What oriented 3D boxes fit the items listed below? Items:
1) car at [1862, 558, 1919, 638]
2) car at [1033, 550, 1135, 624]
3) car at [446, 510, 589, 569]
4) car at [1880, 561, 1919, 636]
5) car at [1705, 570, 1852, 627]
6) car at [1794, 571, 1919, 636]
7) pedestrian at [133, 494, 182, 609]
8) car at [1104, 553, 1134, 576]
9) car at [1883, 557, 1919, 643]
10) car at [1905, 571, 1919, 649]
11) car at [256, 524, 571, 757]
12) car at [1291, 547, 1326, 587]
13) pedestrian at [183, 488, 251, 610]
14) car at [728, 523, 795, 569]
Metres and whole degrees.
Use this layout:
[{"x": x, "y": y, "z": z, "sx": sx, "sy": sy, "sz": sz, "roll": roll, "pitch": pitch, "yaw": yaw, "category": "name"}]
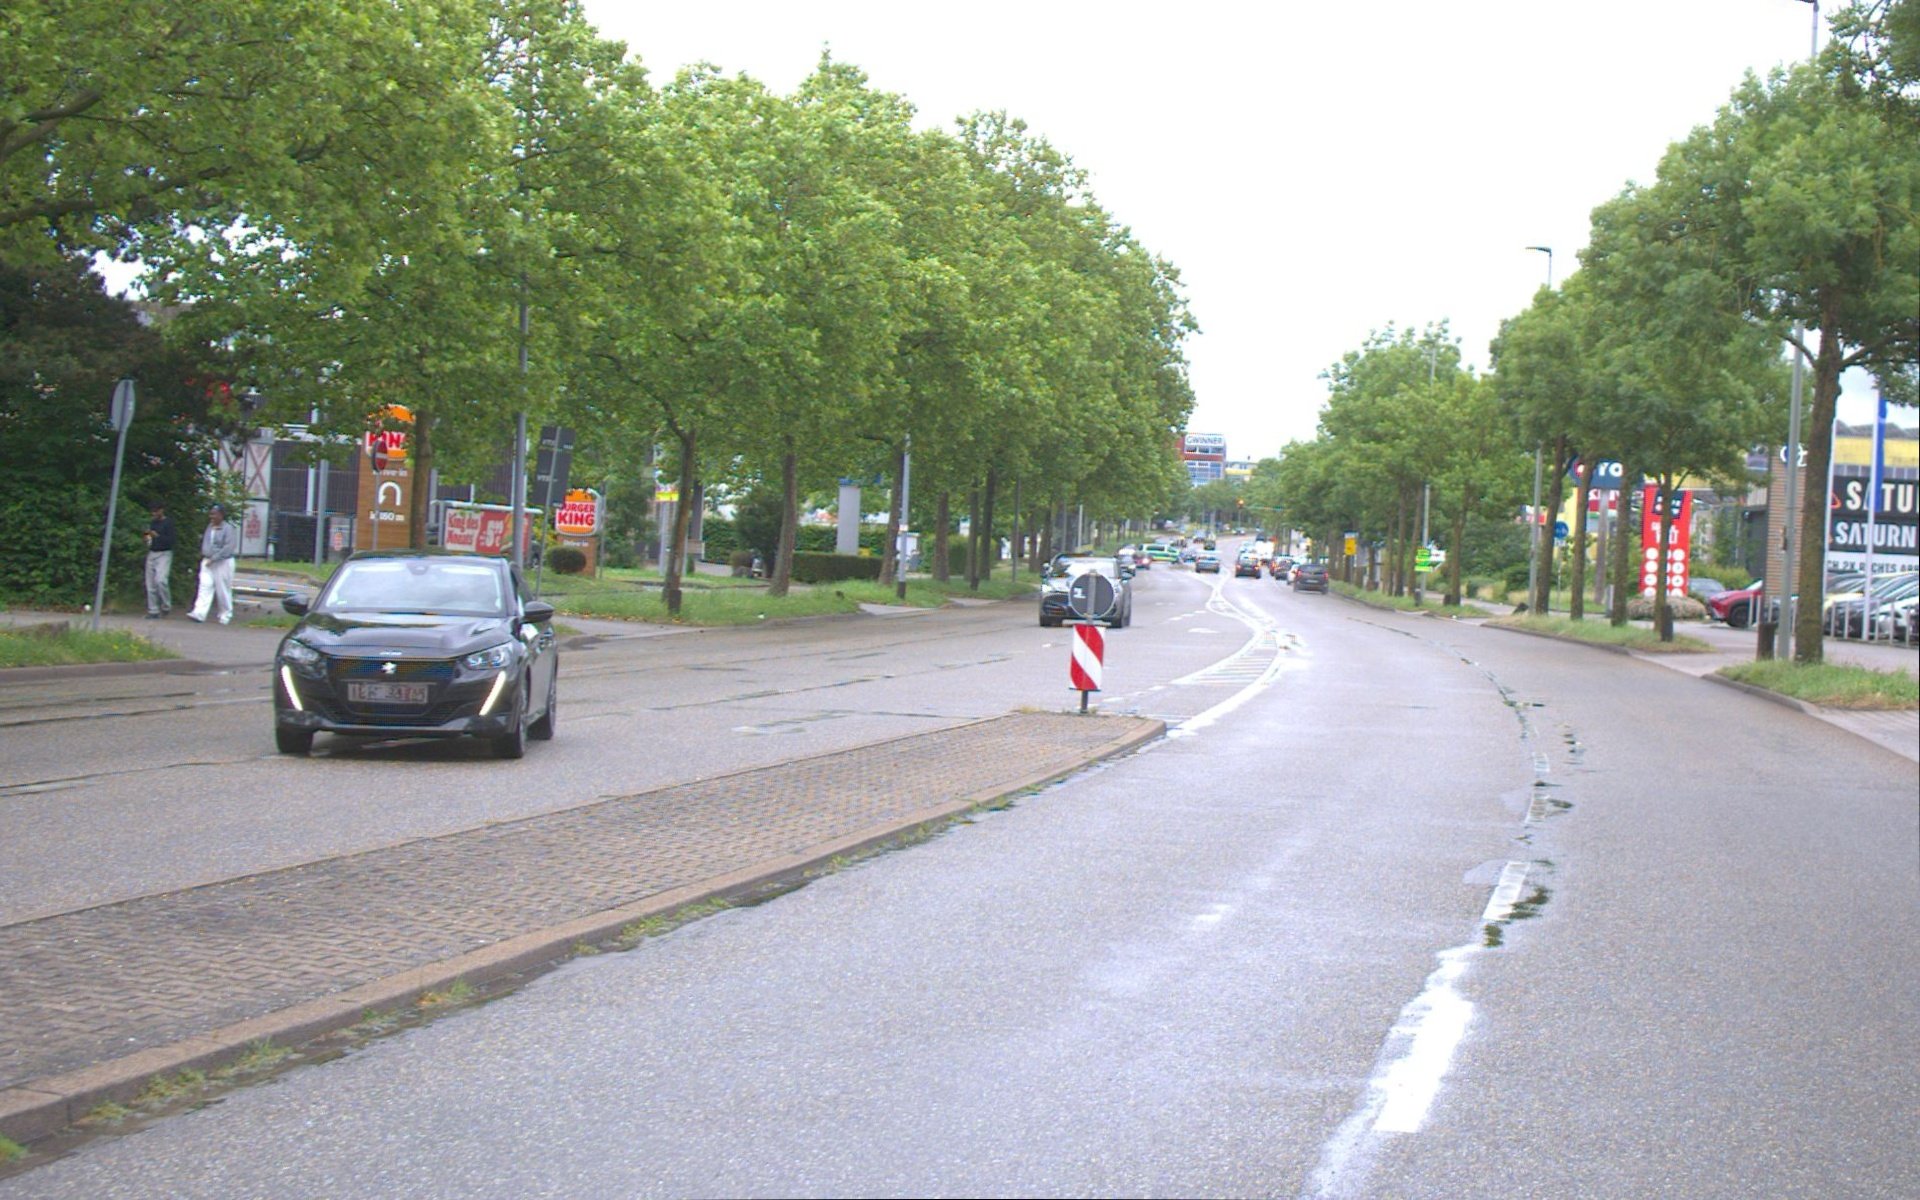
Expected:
[{"x": 22.751, "y": 0.000, "z": 78.363, "sx": 3.988, "sy": 1.780, "sz": 1.812, "roll": 2, "pitch": 1, "yaw": 7, "category": "car"}, {"x": 2.847, "y": -0.279, "z": 77.940, "sx": 1.812, "sy": 1.556, "sz": 4.597, "roll": 2, "pitch": 0, "yaw": 8, "category": "car"}, {"x": -10.876, "y": -1.480, "z": 84.548, "sx": 3.177, "sy": 1.151, "sz": 1.290, "roll": 6, "pitch": 2, "yaw": 13, "category": "car"}, {"x": 22.505, "y": -0.103, "z": 75.741, "sx": 3.987, "sy": 1.582, "sz": 1.812, "roll": -2, "pitch": 1, "yaw": 4, "category": "car"}, {"x": 23.124, "y": -0.050, "z": 97.227, "sx": 3.842, "sy": 1.598, "sz": 1.795, "roll": 0, "pitch": 1, "yaw": 5, "category": "car"}, {"x": 23.061, "y": 0.067, "z": 86.280, "sx": 3.839, "sy": 1.560, "sz": 1.667, "roll": -1, "pitch": 0, "yaw": 2, "category": "car"}, {"x": -11.861, "y": -0.722, "z": 50.826, "sx": 0.512, "sy": 1.677, "sz": 0.540, "roll": 2, "pitch": 1, "yaw": 7, "category": "pedestrian"}, {"x": 10.612, "y": -2.389, "z": 229.822, "sx": 1.804, "sy": 1.458, "sz": 3.845, "roll": 2, "pitch": 1, "yaw": 5, "category": "car"}, {"x": 21.834, "y": -0.059, "z": 73.150, "sx": 3.988, "sy": 1.780, "sz": 1.812, "roll": -2, "pitch": 0, "yaw": 7, "category": "car"}, {"x": 21.697, "y": 0.152, "z": 70.902, "sx": 3.988, "sy": 1.579, "sz": 1.812, "roll": -2, "pitch": 0, "yaw": 7, "category": "car"}, {"x": -3.875, "y": 0.238, "z": 24.945, "sx": 1.643, "sy": 1.503, "sz": 3.894, "roll": 2, "pitch": 1, "yaw": 0, "category": "car"}, {"x": 18.585, "y": -1.774, "z": 183.287, "sx": 1.745, "sy": 2.007, "sz": 3.999, "roll": 3, "pitch": 1, "yaw": 6, "category": "car"}, {"x": -11.021, "y": -0.749, "z": 50.985, "sx": 0.666, "sy": 1.760, "sz": 0.582, "roll": 4, "pitch": 1, "yaw": 28, "category": "pedestrian"}, {"x": -6.874, "y": -1.874, "z": 119.481, "sx": 1.823, "sy": 1.481, "sz": 3.939, "roll": 2, "pitch": 1, "yaw": 3, "category": "car"}]
